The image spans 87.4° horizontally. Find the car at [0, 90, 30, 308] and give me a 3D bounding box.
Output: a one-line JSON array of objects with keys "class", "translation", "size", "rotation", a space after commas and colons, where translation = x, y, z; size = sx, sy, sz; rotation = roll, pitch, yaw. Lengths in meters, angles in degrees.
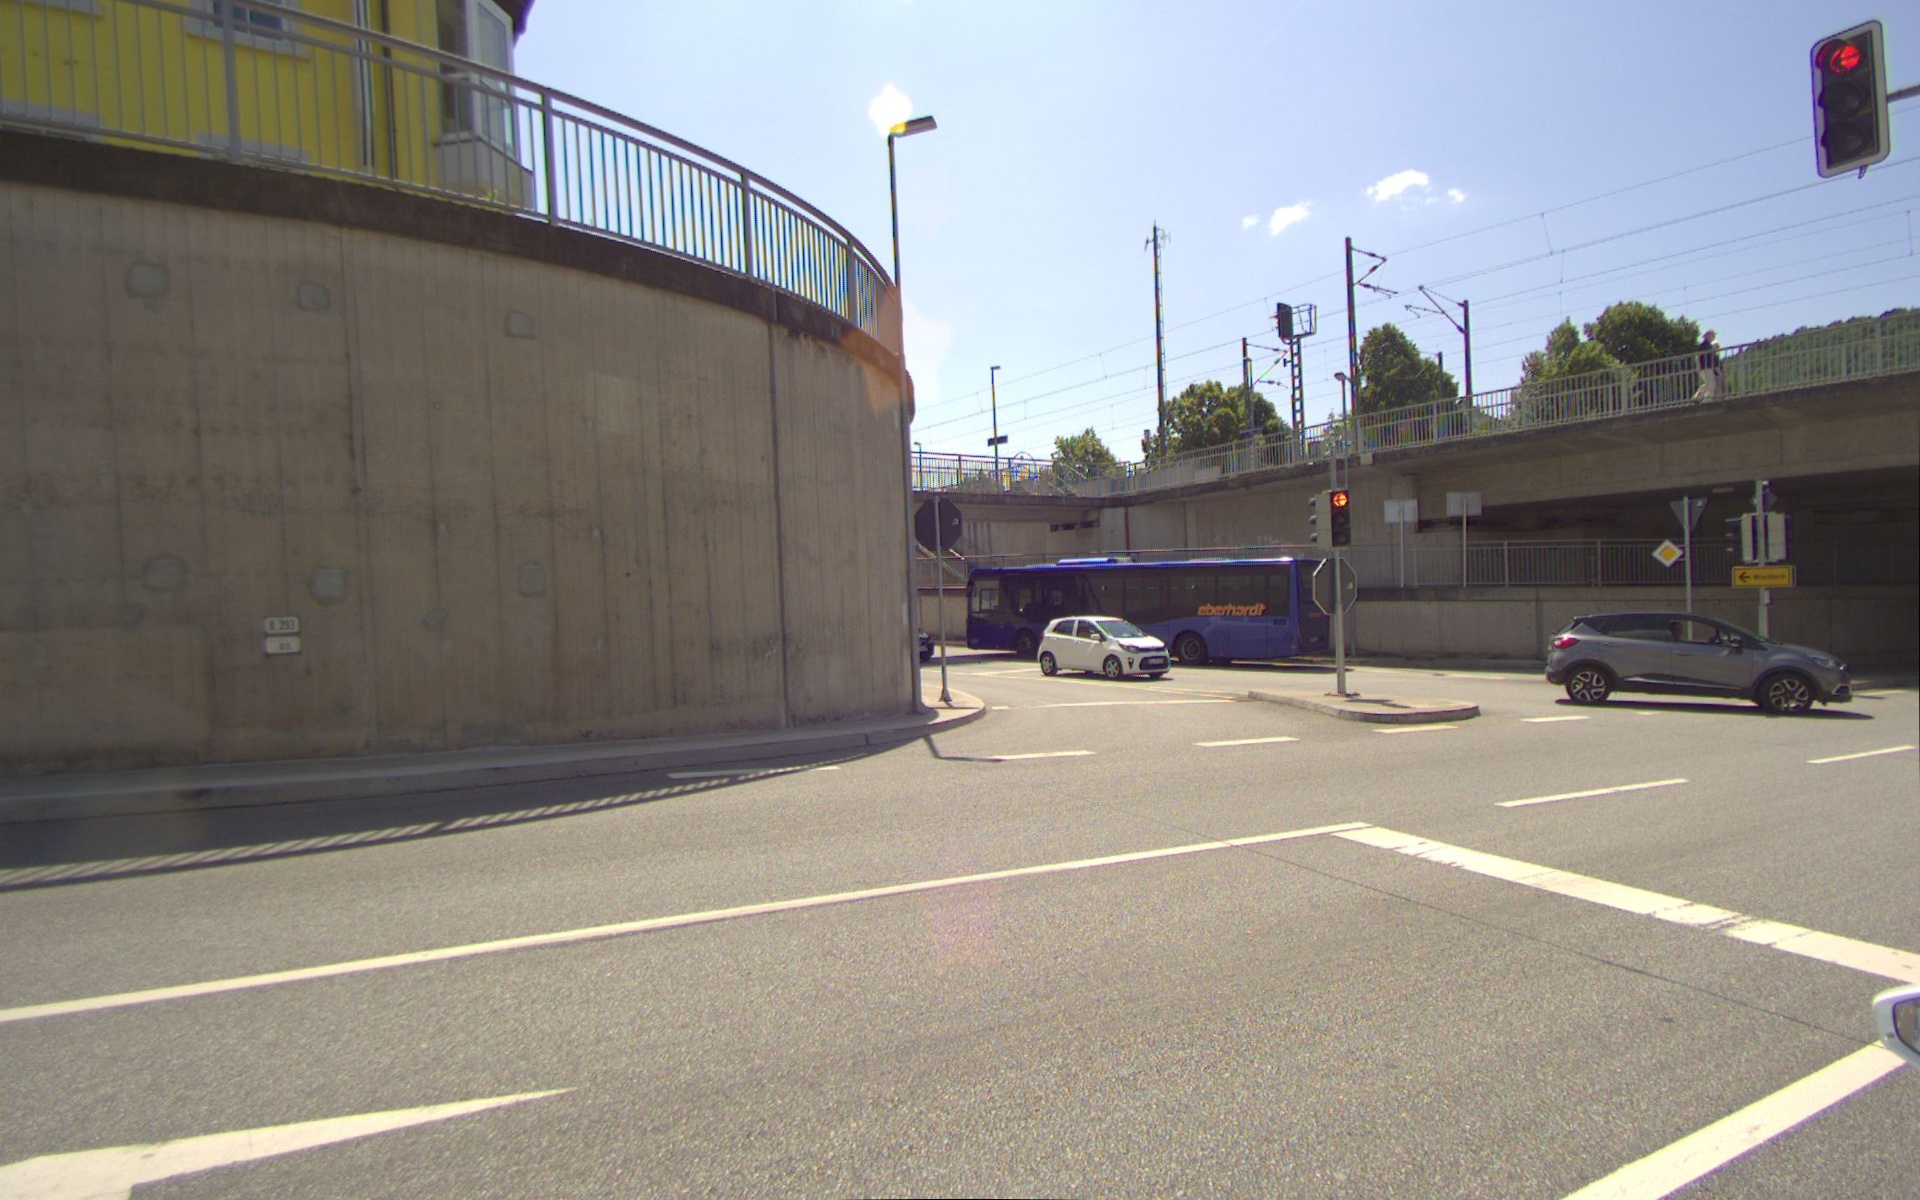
[{"class": "car", "translation": [-9.835, -3.518, 7.446], "size": [3.955, 1.690, 1.892], "rotation": [-1, 1, -32]}]

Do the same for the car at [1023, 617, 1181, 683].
[{"class": "car", "translation": [3.483, 1.192, 25.266], "size": [1.713, 1.439, 3.962], "rotation": [-2, 0, -34]}]

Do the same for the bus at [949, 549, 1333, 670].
[{"class": "bus", "translation": [5.153, 0.317, 31.602], "size": [12.189, 3.215, 2.577], "rotation": [-1, 1, 40]}]

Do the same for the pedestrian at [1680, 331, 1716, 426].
[{"class": "pedestrian", "translation": [17.727, -5.298, 24.116], "size": [0.531, 2.108, 0.571], "rotation": [1, -1, -40]}]

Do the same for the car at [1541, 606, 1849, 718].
[{"class": "car", "translation": [12.053, 0.947, 16.785], "size": [3.933, 1.610, 1.994], "rotation": [-1, 1, 34]}]

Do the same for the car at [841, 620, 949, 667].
[{"class": "car", "translation": [-2.242, 1.423, 33.771], "size": [1.751, 1.392, 3.958], "rotation": [-2, 0, -37]}]
